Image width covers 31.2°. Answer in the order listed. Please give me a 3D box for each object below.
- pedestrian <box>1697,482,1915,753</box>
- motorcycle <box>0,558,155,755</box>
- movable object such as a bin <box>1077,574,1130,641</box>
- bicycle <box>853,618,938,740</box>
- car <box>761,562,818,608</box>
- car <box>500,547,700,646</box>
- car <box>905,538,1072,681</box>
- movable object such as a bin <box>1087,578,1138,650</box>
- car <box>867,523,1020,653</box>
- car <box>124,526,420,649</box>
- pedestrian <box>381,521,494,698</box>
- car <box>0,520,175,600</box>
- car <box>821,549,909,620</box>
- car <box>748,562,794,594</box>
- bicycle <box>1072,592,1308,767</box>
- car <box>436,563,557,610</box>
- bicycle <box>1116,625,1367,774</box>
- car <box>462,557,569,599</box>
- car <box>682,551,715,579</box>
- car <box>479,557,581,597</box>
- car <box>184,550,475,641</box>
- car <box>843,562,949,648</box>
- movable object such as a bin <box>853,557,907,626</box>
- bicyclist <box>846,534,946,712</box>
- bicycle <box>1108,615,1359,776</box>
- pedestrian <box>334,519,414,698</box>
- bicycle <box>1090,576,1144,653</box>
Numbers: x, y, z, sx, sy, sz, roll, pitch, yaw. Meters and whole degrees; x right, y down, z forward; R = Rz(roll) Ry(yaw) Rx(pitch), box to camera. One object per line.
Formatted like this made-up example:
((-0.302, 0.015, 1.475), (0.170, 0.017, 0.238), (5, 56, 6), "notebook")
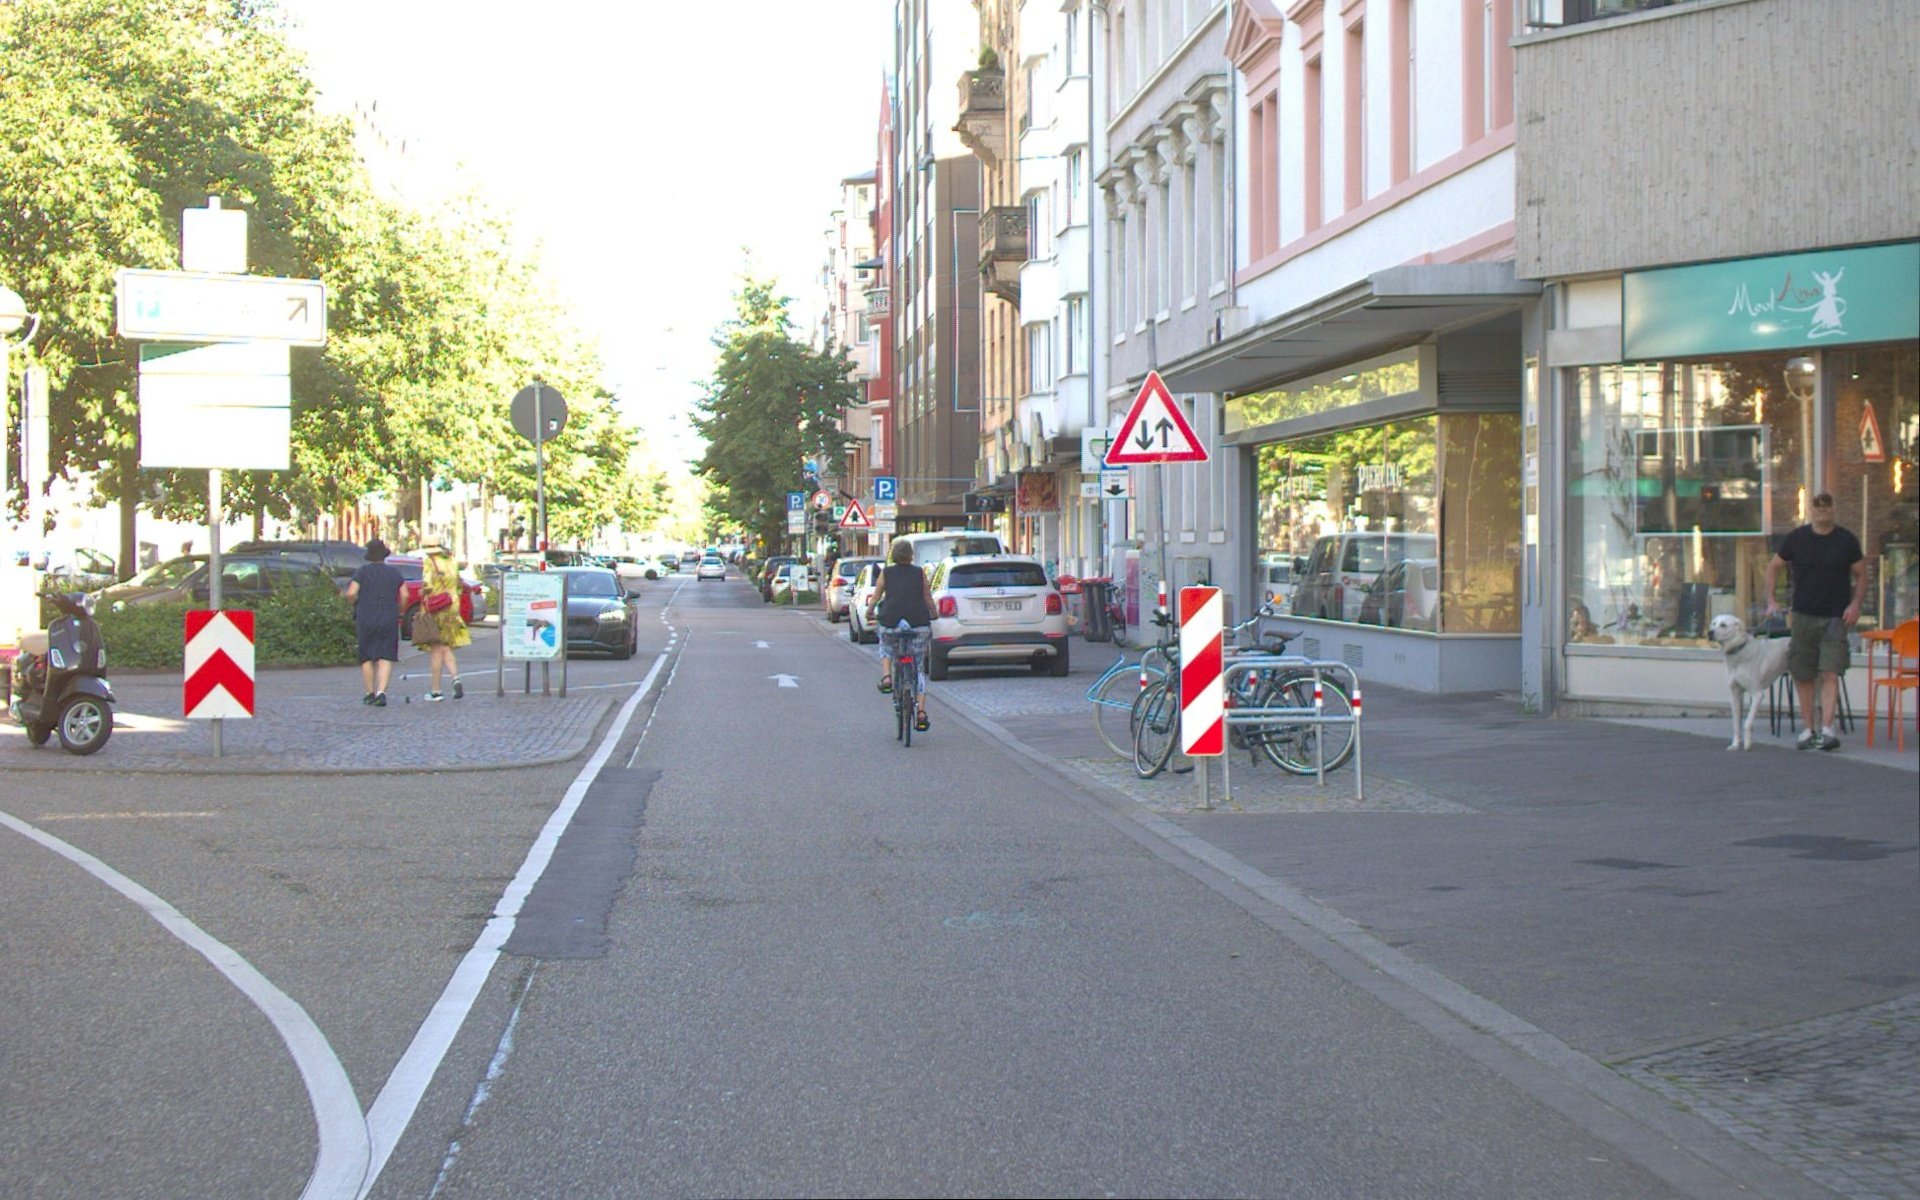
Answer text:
((5.607, 0.118, 22.852), (1.132, 1.737, 1.022), (2, -1, -2), "pedestrian")
((-6.442, 0.396, 24.898), (0.745, 1.369, 1.761), (2, -1, -27), "motorcycle")
((2.403, 0.125, 57.738), (0.794, 1.073, 0.660), (-3, -1, -2), "movable object such as a bin")
((-0.540, 0.643, 28.798), (0.652, 0.955, 2.698), (2, 0, -1), "bicycle")
((-6.285, -0.540, 127.031), (1.993, 1.612, 4.010), (2, -1, -2), "car")
((-5.521, -0.025, 53.371), (1.912, 1.412, 4.808), (1, 0, 9), "car")
((0.319, 0.136, 45.371), (1.745, 1.733, 4.961), (2, 0, -4), "car")
((2.505, 0.236, 56.465), (0.768, 1.157, 0.578), (2, -1, -1), "movable object such as a bin")
((-0.320, -0.216, 55.399), (1.993, 1.998, 5.118), (0, 1, -6), "car")
((-10.174, -0.188, 50.779), (3.986, 1.662, 2.001), (2, 0, -20), "car")
((-5.070, 0.090, 33.380), (0.803, 1.693, 0.669), (1, -1, 26), "pedestrian")
((-21.850, -0.964, 82.809), (5.263, 1.794, 2.163), (2, -1, -30), "car")
((-2.404, -0.367, 85.911), (1.898, 1.669, 4.825), (2, 0, -4), "car")
((-8.763, -1.019, 159.283), (1.993, 1.448, 4.001), (1, 0, -5), "car")
((1.715, 0.584, 25.570), (1.622, 1.239, 0.658), (1, -1, 16), "bicycle")
((-16.029, -0.463, 118.997), (3.986, 1.503, 2.000), (2, 0, -3), "car")
((1.980, 0.695, 24.167), (1.704, 1.001, 0.427), (1, -1, 12), "bicycle")
((-17.411, -0.864, 134.897), (3.986, 1.503, 1.895), (2, 0, -3), "car")
((-15.625, -2.063, 205.571), (1.870, 1.550, 4.000), (2, 0, -3), "car")
((-17.435, -0.927, 139.529), (3.986, 1.503, 2.000), (2, 0, -4), "car")
((-11.376, -0.065, 62.126), (4.834, 1.483, 1.765), (2, -1, -27), "car")
((-1.232, 0.102, 64.706), (1.718, 1.510, 3.583), (-2, 0, -4), "car")
((-1.757, -0.193, 75.433), (1.073, 1.452, 1.492), (-2, 1, 1), "movable object such as a bin")
((-0.539, 0.192, 28.839), (0.786, 1.448, 1.095), (2, -1, -1), "bicyclist")
((1.891, 0.652, 23.795), (1.680, 1.058, 0.343), (1, -1, 12), "bicycle")
((-5.547, 0.084, 32.551), (0.636, 1.666, 0.693), (1, -1, -3), "pedestrian")
((2.486, 0.233, 54.408), (0.483, 1.182, 1.718), (-2, -1, 14), "bicycle")
